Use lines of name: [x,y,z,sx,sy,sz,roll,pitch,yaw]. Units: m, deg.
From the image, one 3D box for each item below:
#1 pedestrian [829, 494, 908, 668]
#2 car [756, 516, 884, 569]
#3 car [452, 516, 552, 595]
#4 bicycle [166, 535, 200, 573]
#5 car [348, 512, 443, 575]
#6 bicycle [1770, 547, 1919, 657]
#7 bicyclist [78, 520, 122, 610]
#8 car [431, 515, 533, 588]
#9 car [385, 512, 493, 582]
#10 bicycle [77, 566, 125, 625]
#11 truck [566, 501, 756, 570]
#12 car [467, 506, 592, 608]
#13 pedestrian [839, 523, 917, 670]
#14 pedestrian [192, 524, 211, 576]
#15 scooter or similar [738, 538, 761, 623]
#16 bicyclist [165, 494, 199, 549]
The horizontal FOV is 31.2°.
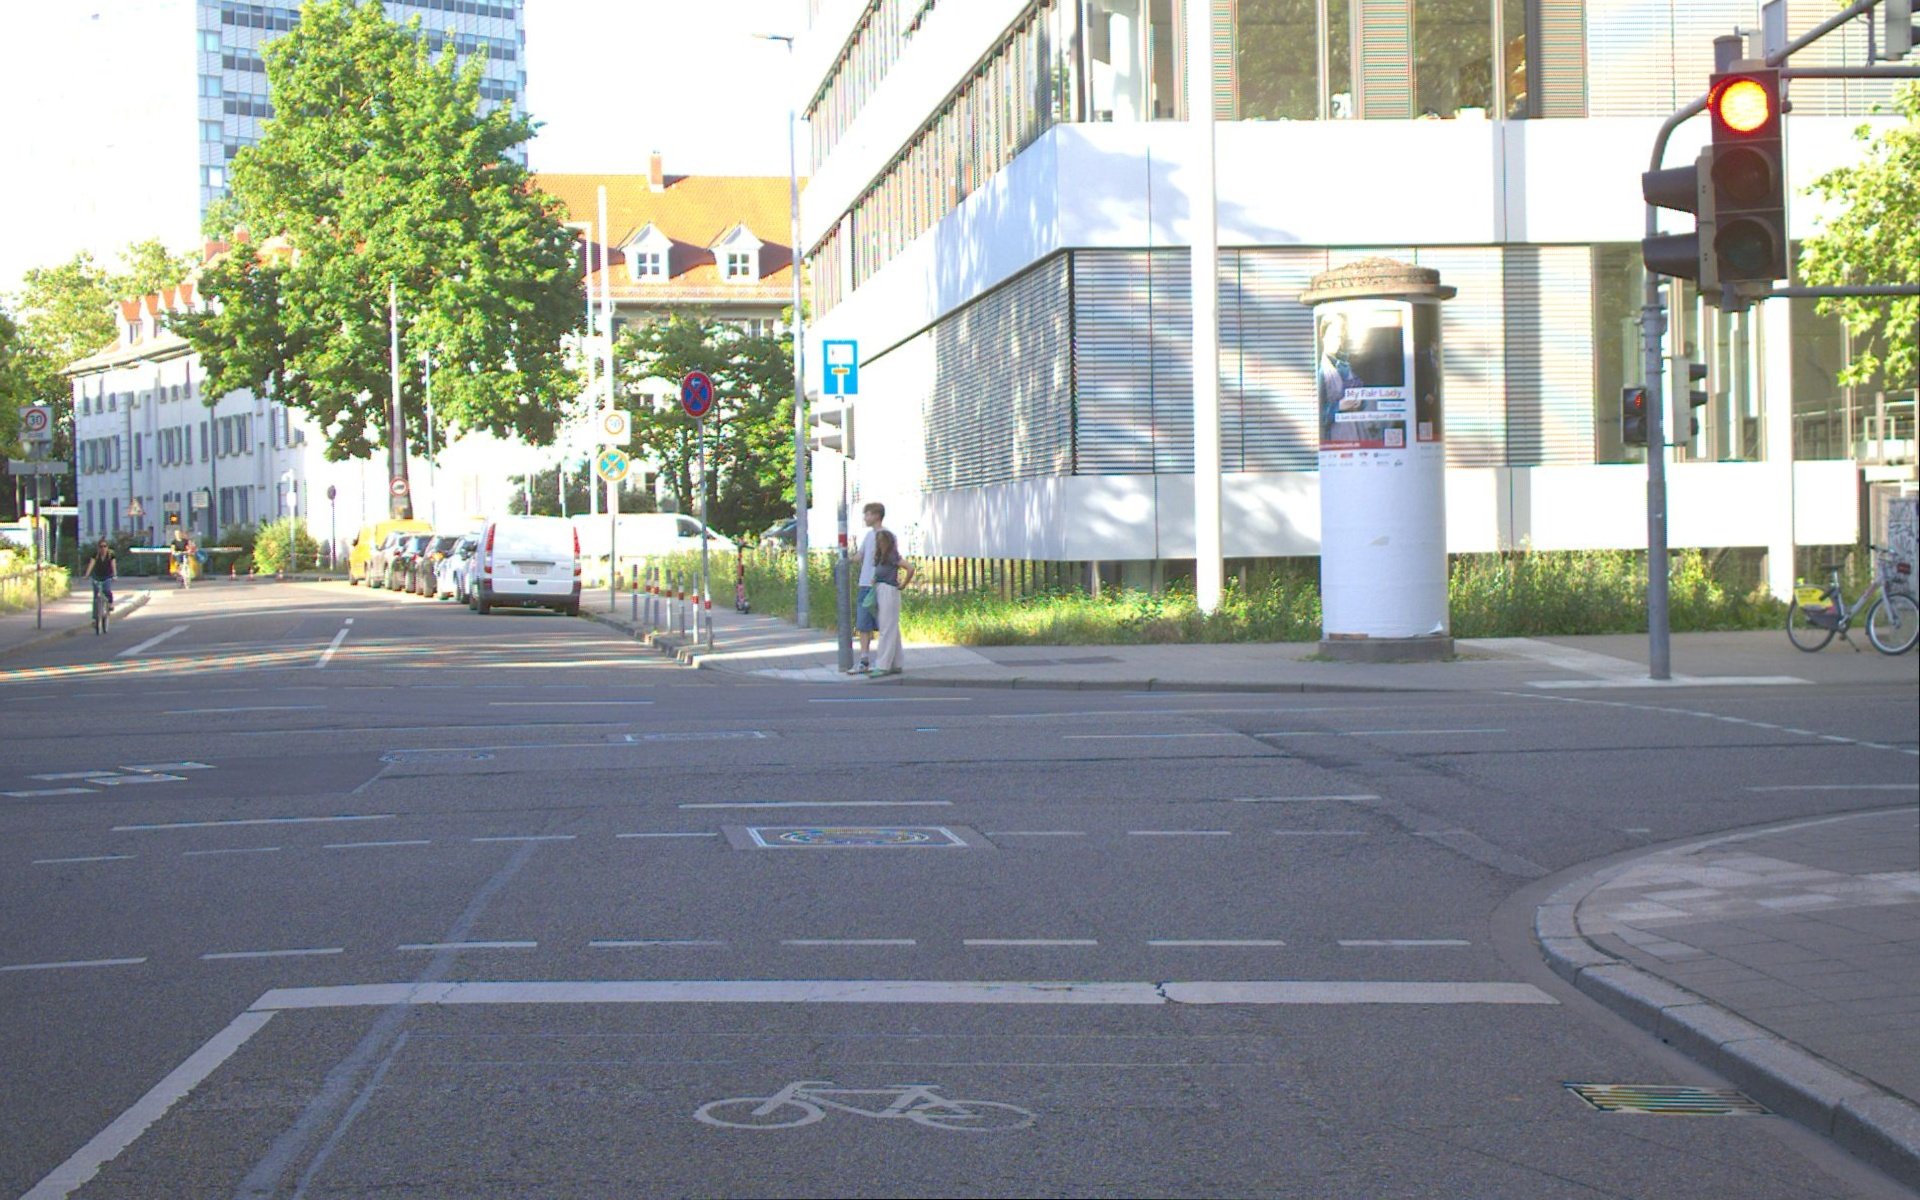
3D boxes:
pedestrian: [-1.003,-0.215,37.822,0.560,1.844,0.677,-3,2,16]
car: [-4.251,-1.753,104.253,3.554,1.541,1.559,-1,1,-19]
car: [-9.746,-0.978,72.957,1.888,1.550,4.417,-1,2,-10]
bicycle: [-22.413,-1.325,99.236,0.865,1.006,2.415,-4,1,-12]
car: [-15.698,-1.587,95.510,1.888,1.650,4.417,-1,2,-19]
bicycle: [9.312,0.009,36.052,0.507,1.045,1.687,-4,5,-35]
bicyclist: [-14.744,-0.607,58.970,0.615,1.527,0.903,-2,1,-9]
car: [-10.919,-1.125,78.328,1.888,1.550,4.417,-1,2,-13]
car: [-13.003,-1.343,85.575,1.888,1.650,4.417,-1,2,-19]
bicycle: [-14.732,-0.085,58.968,0.615,0.966,1.842,-2,1,-9]
truck: [-8.966,-1.934,103.065,5.336,2.007,2.001,-1,1,-19]
car: [-8.133,-0.848,64.676,2.084,1.789,4.417,-1,2,-10]
pedestrian: [-0.887,-0.044,37.219,0.559,1.535,0.677,-5,2,-18]
pedestrian: [-23.511,-1.551,106.592,0.433,1.602,0.493,-2,1,-26]
scooter or similar: [-3.590,-0.334,58.586,0.330,1.419,1.335,1,0,-6]
bicyclist: [-22.470,-2.264,99.261,0.865,1.510,1.019,-4,1,-13]
